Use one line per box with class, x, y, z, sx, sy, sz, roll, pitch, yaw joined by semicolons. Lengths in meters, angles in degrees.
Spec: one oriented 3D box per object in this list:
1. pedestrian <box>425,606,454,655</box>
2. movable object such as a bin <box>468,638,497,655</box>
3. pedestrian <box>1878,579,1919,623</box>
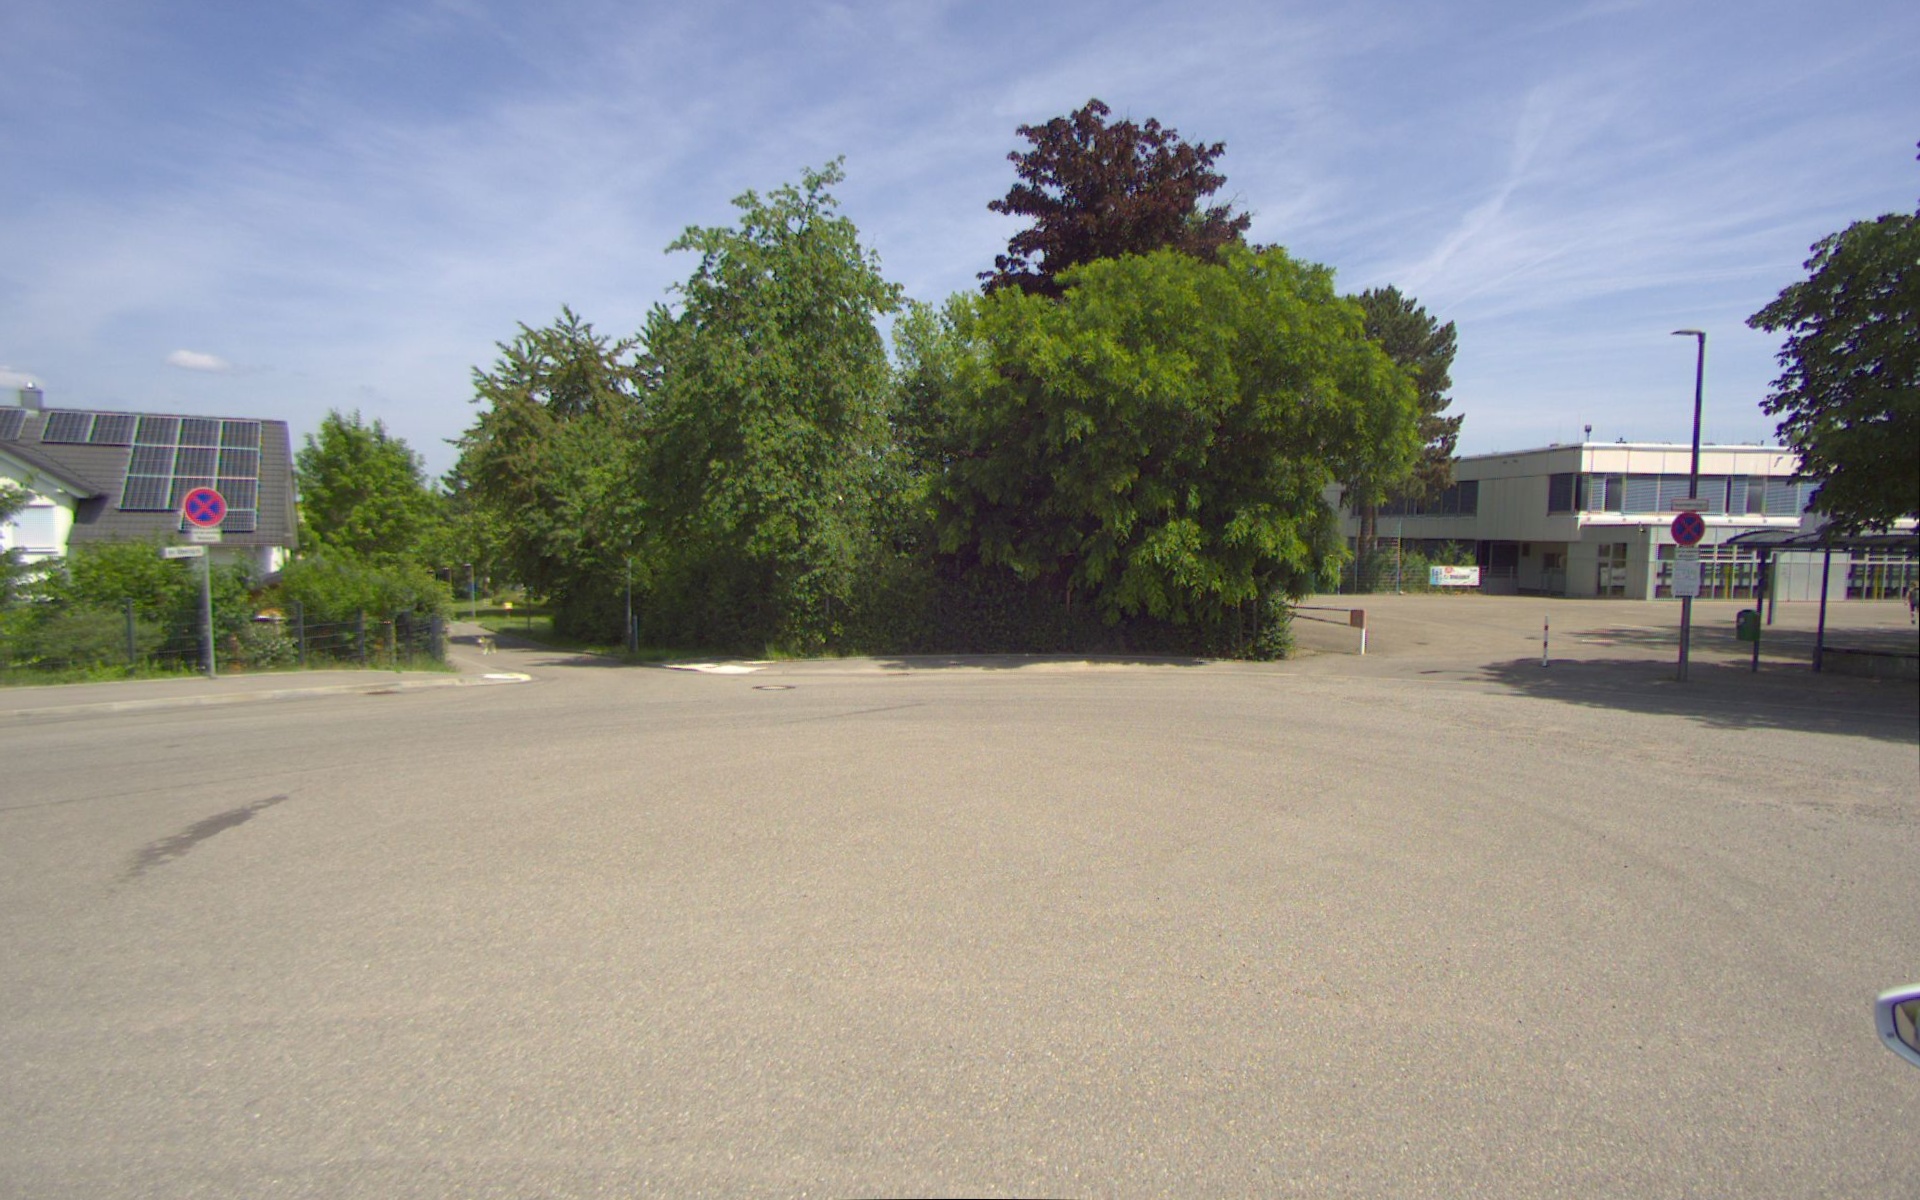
pedestrian;-20.169;1.196;38.917;0.841;1.843;0.826;-1;-3;-37
movable object such as a bin;-18.571;1.794;39.066;0.538;0.637;1.021;-1;-1;9
pedestrian;31.651;0.026;33.729;0.902;1.443;1.068;3;3;27
